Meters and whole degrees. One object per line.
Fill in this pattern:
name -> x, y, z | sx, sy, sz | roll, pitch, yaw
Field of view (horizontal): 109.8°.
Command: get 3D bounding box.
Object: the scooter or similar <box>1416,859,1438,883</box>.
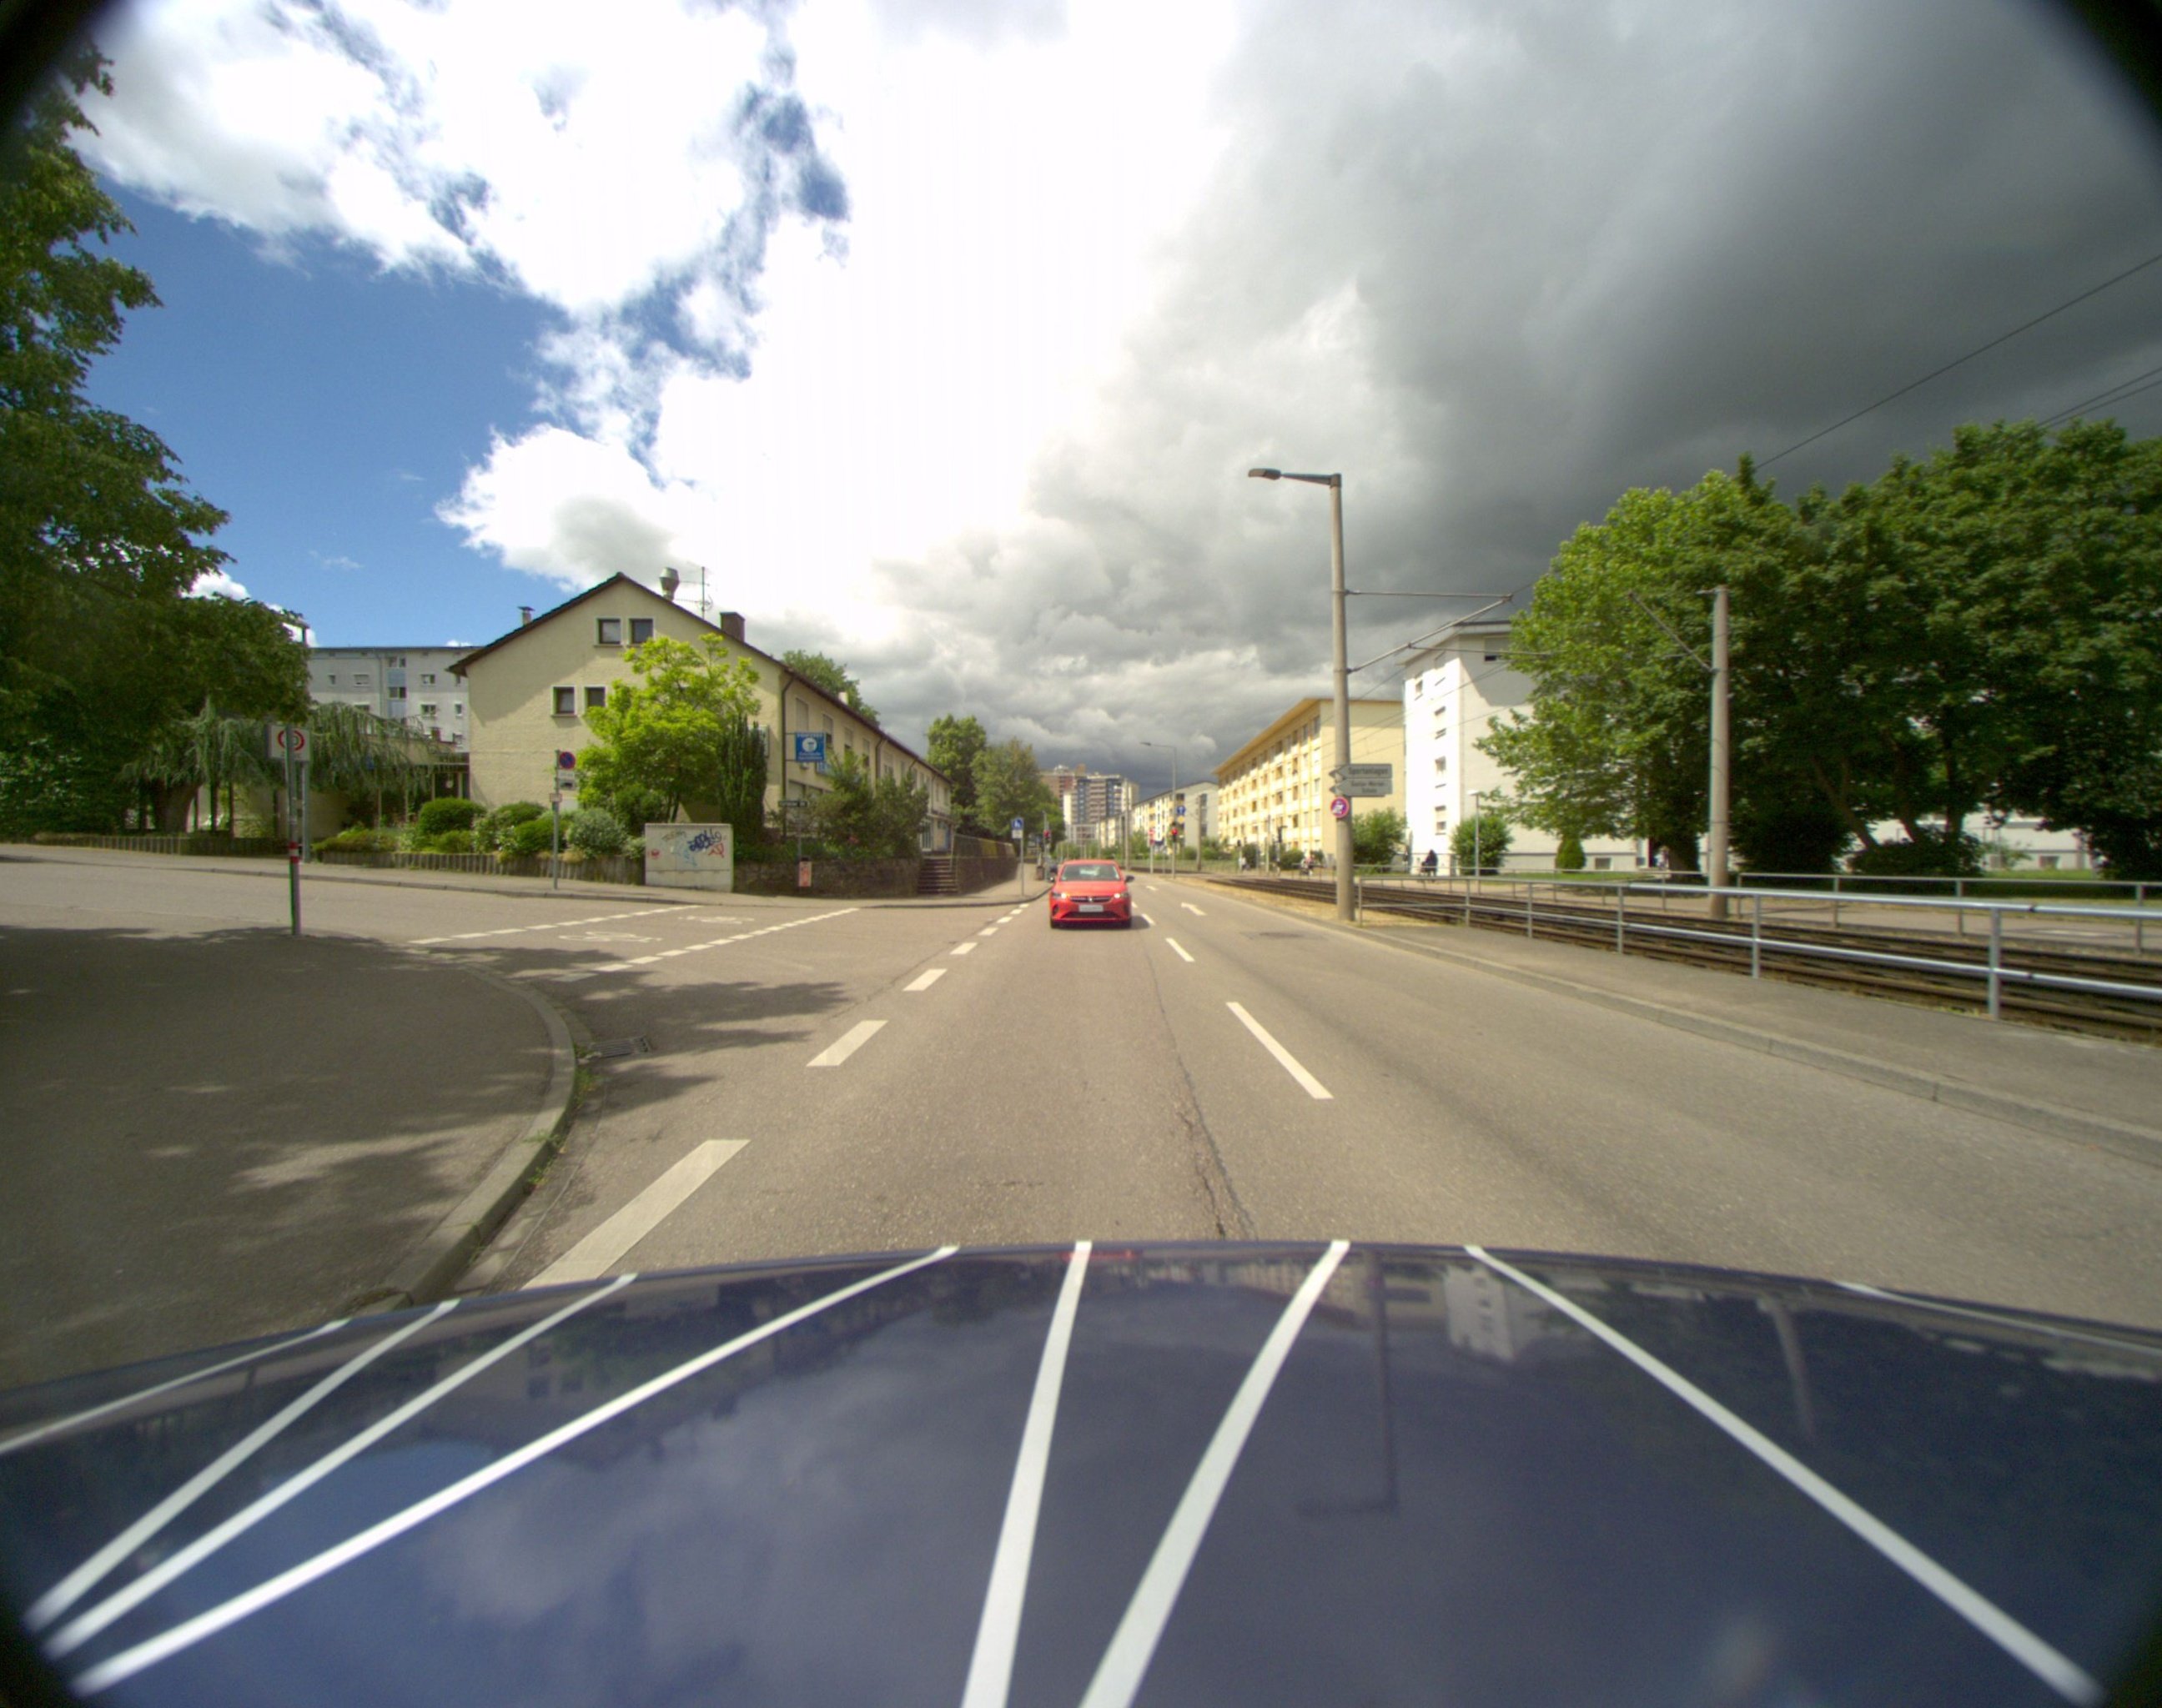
scooter or similar -> 16.233, 0.788, 35.631 | 0.606, 1.108, 0.821 | -1, 1, -1

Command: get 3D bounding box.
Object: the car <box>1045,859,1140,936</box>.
car -> 0.145, 0.879, 17.280 | 1.784, 1.433, 4.130 | -3, 0, -4

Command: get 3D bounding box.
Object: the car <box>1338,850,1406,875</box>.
car -> 21.161, 0.599, 55.306 | 4.286, 1.719, 1.811 | -1, 1, 6

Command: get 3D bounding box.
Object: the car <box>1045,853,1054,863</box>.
car -> -8.585, 1.089, 205.570 | 2.237, 2.460, 5.085 | 0, 0, -4

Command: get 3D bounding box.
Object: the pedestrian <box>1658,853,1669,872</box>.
pedestrian -> 27.607, 0.398, 36.019 | 0.329, 0.878, 0.256 | -2, 5, 11

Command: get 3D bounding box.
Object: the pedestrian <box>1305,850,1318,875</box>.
pedestrian -> 15.762, 0.552, 51.969 | 0.647, 1.683, 0.679 | -1, 1, 0

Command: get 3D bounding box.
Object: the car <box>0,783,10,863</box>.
car -> -25.099, -0.751, 15.501 | 3.997, 1.707, 1.690 | 3, 0, -1

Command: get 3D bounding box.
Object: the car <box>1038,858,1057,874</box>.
car -> -3.350, 1.158, 74.862 | 1.760, 1.570, 4.020 | 0, 0, -4

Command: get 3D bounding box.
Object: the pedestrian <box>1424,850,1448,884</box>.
pedestrian -> 16.239, 0.575, 34.773 | 0.614, 1.531, 0.874 | -2, 1, -1

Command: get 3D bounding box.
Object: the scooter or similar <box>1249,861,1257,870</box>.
scooter or similar -> 15.107, 1.046, 66.894 | 0.534, 0.769, 0.666 | -2, 0, -1

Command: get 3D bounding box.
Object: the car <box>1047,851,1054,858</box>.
car -> -9.295, 0.053, 231.365 | 2.237, 2.050, 4.360 | 0, 0, -4

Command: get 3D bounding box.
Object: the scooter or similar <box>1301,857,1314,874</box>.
scooter or similar -> 15.751, 0.803, 52.765 | 0.609, 1.156, 0.892 | -1, 1, 0

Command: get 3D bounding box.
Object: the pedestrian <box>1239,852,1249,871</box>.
pedestrian -> 14.374, 0.669, 67.102 | 0.605, 1.598, 0.773 | -2, 1, -1
